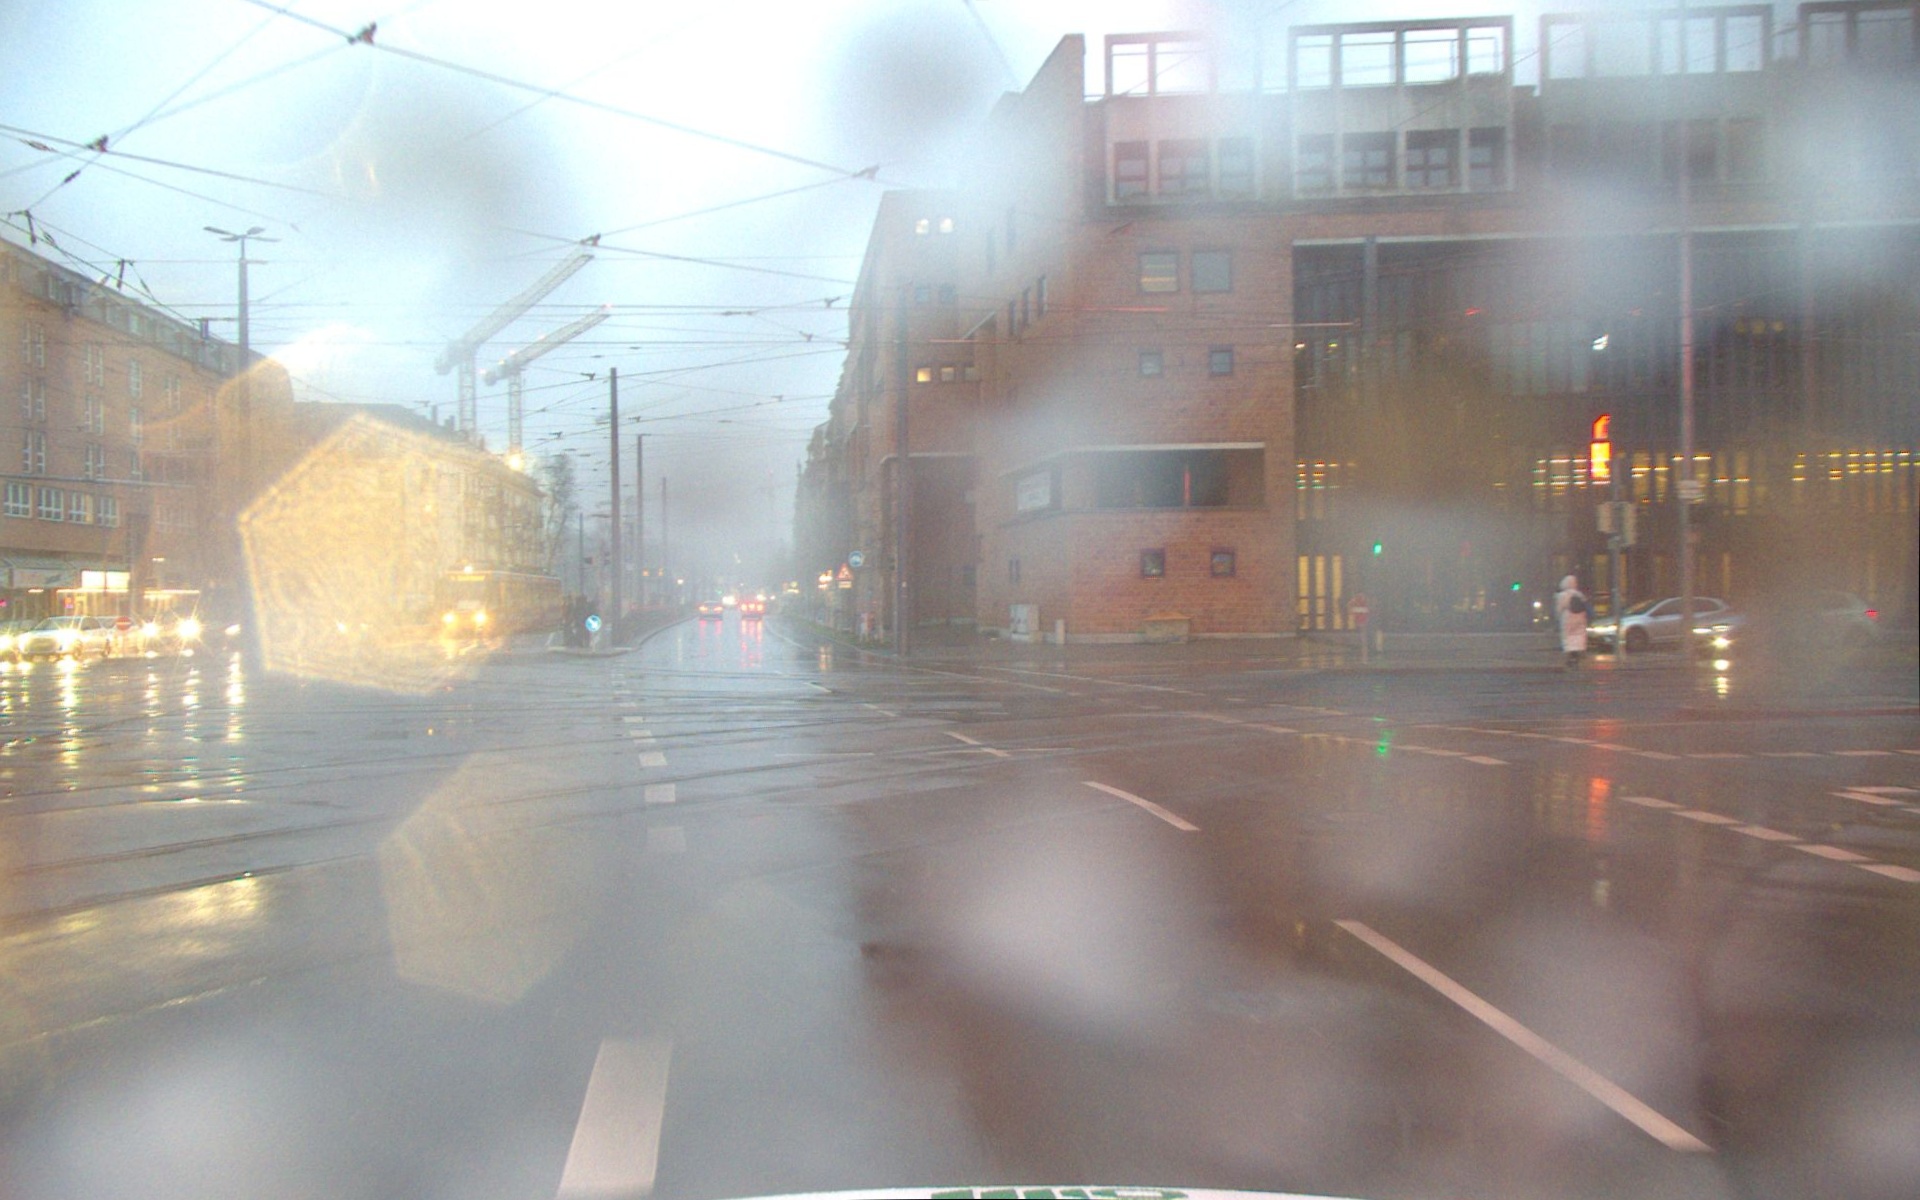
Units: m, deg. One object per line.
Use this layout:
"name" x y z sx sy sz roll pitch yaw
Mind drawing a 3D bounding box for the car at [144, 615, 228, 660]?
"car" -31.706 1.503 67.917 1.794 1.739 4.697 0 0 -8

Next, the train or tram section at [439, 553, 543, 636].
"train or tram section" -22.367 -0.253 79.613 2.894 3.652 12.236 1 0 -7

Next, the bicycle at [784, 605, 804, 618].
"bicycle" -14.383 1.009 143.083 1.698 1.073 0.370 -2 0 -9

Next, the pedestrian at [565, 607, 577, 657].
"pedestrian" -13.752 1.118 58.474 0.426 1.766 0.472 0 0 -13

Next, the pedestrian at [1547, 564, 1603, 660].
"pedestrian" 11.850 0.234 31.892 0.720 1.818 0.733 -1 0 -11

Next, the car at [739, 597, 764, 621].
"car" -18.105 0.778 143.826 1.955 2.049 3.995 -1 0 -6

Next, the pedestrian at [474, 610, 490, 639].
"pedestrian" -19.722 0.996 68.252 0.569 1.173 0.489 1 0 -6

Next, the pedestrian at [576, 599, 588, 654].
"pedestrian" -13.015 0.904 56.975 0.405 1.878 0.667 0 0 -12

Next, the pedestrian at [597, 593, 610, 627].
"pedestrian" -17.140 0.460 79.505 0.607 1.618 0.620 0 0 -10

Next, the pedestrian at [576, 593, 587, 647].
"pedestrian" -12.904 0.679 56.320 0.353 1.818 0.438 0 0 -12

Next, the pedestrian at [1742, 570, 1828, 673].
"pedestrian" 14.890 0.378 29.873 1.126 1.818 0.776 -1 0 -7

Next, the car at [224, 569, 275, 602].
"car" -45.346 -0.910 105.605 1.956 2.049 3.993 1 0 -8

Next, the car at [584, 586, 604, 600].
"car" -37.112 -0.747 167.812 1.650 1.378 3.539 0 0 -8

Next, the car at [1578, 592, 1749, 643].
"car" 19.153 0.471 45.094 3.904 1.333 1.812 0 0 -6

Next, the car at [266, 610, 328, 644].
"car" -28.522 1.145 71.261 1.650 1.378 3.539 0 0 -8

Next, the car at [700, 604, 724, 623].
"car" -20.077 1.073 134.146 1.749 1.492 3.145 -1 0 -6

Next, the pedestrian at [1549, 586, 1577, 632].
"pedestrian" 18.618 0.266 51.041 0.721 1.413 0.738 -1 0 14

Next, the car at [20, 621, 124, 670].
"car" -30.087 1.510 56.186 1.636 1.521 4.195 -1 0 -6

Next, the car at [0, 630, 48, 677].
"car" -33.195 1.848 57.289 1.551 1.521 3.591 -1 0 -6

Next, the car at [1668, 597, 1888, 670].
"car" 17.738 0.705 35.967 3.903 1.364 1.812 -2 0 -5

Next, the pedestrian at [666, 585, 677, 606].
"pedestrian" -20.674 -0.323 118.657 0.670 1.542 0.615 0 0 -20
